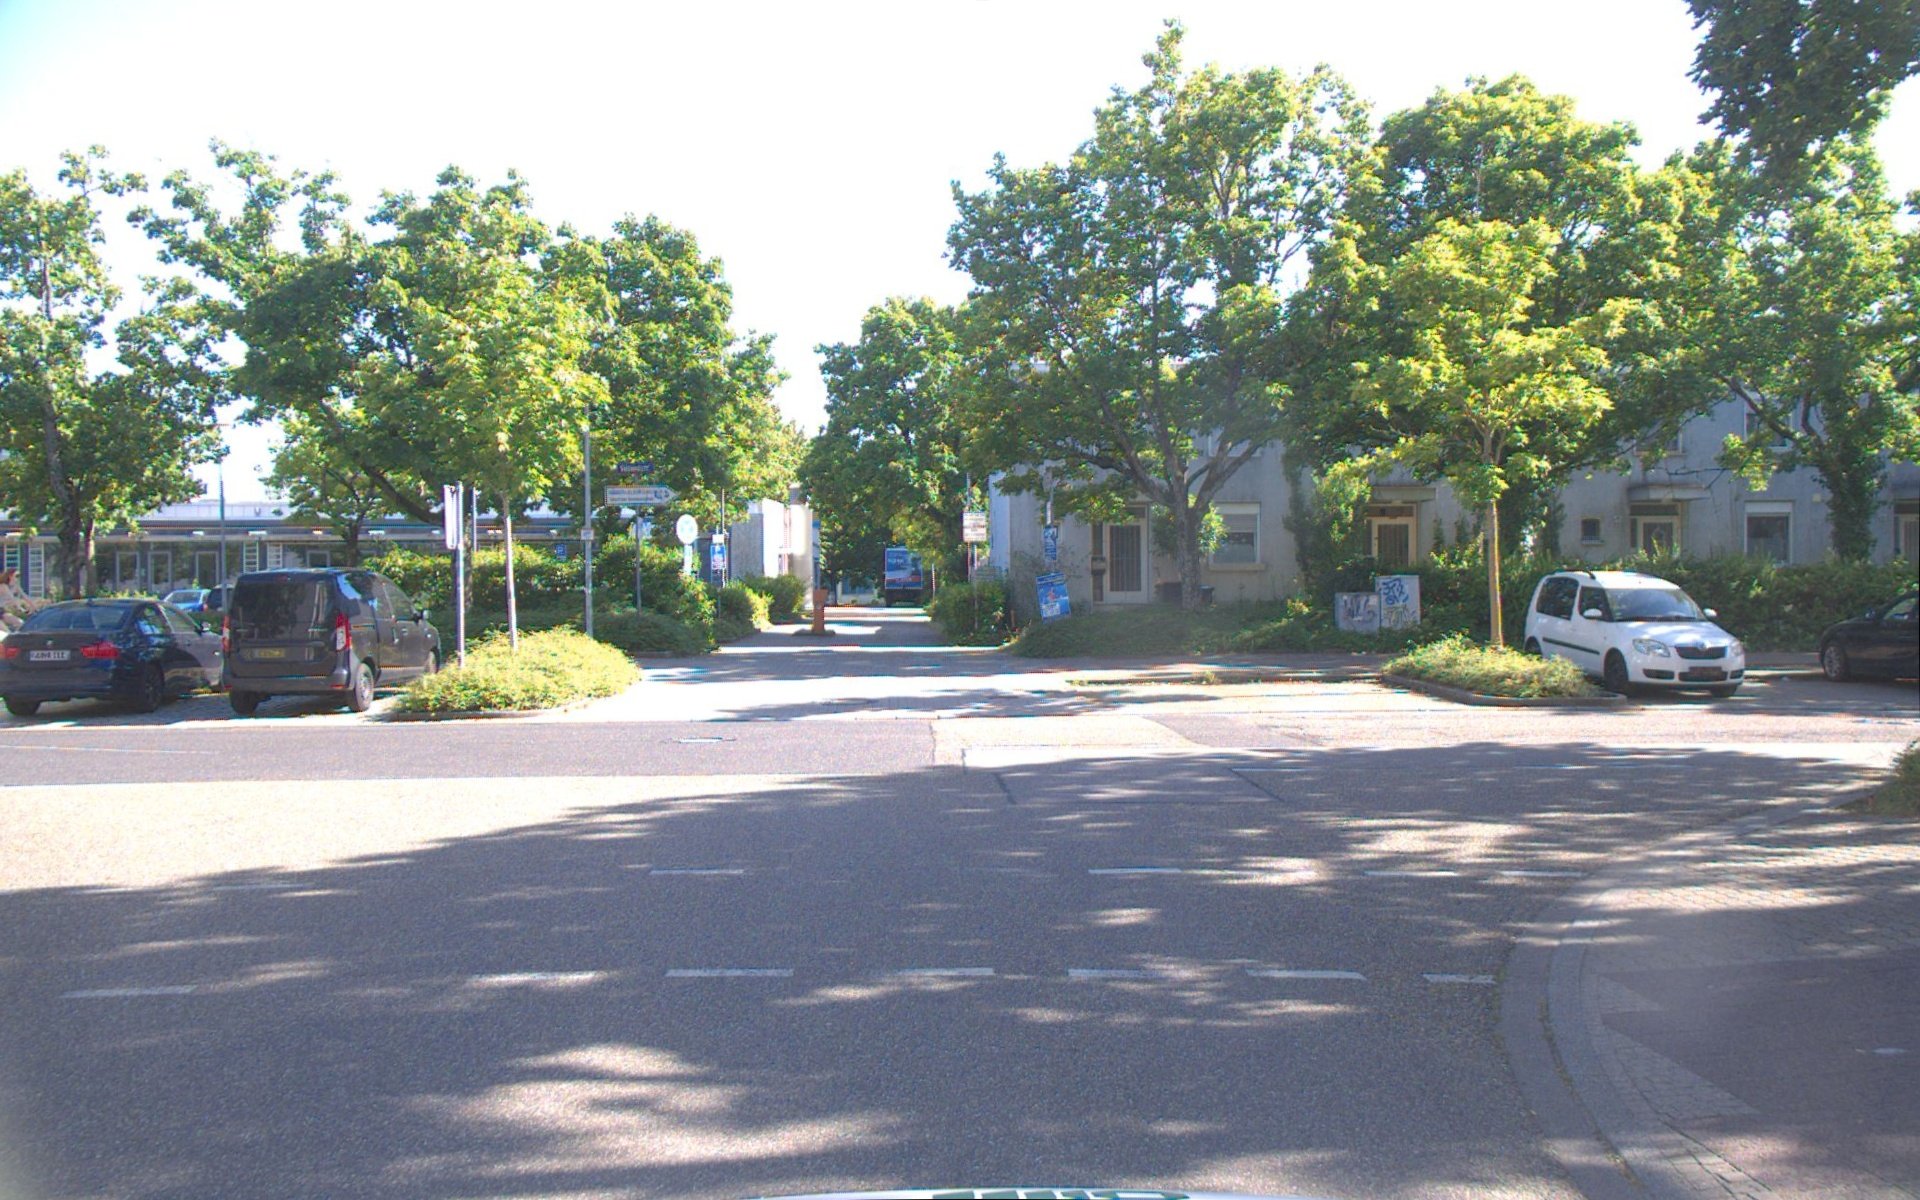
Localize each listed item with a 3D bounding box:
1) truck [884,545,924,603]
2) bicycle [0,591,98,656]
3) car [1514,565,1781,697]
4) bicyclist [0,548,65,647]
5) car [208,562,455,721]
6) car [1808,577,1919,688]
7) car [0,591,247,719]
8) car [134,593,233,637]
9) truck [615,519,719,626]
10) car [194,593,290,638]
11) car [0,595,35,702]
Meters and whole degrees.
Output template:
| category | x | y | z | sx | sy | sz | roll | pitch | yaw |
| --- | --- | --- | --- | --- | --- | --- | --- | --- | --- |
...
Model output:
| category | x | y | z | sx | sy | sz | roll | pitch | yaw |
| --- | --- | --- | --- | --- | --- | --- | --- | --- | --- |
| truck | -3.935 | -1.800 | 117.357 | 2.704 | 3.937 | 9.327 | 0 | 1 | -2 |
| bicycle | -15.018 | 0.376 | 26.523 | 2.041 | 1.013 | 0.596 | 0 | 0 | -4 |
| car | 9.419 | 0.348 | 23.049 | 1.787 | 1.625 | 4.166 | -1 | 2 | -4 |
| bicyclist | -15.018 | -0.044 | 26.521 | 0.991 | 1.550 | 0.596 | 0 | 0 | -4 |
| car | -8.373 | 0.463 | 22.452 | 1.836 | 1.878 | 4.167 | -1 | 2 | -2 |
| car | 13.894 | 0.445 | 23.082 | 1.787 | 1.430 | 4.166 | -1 | 2 | -4 |
| car | -11.310 | 0.666 | 22.299 | 1.787 | 1.430 | 4.166 | -1 | 2 | -4 |
| car | -28.610 | 0.532 | 61.064 | 1.798 | 1.524 | 3.908 | -1 | 1 | 0 |
| truck | -11.148 | -1.047 | 63.465 | 2.745 | 3.873 | 6.924 | 0 | 1 | 0 |
| car | -26.536 | 0.548 | 61.248 | 1.798 | 1.524 | 3.908 | -1 | 1 | 0 |
| car | -14.258 | 0.727 | 22.110 | 1.767 | 1.461 | 3.910 | 0 | 2 | -4 |
